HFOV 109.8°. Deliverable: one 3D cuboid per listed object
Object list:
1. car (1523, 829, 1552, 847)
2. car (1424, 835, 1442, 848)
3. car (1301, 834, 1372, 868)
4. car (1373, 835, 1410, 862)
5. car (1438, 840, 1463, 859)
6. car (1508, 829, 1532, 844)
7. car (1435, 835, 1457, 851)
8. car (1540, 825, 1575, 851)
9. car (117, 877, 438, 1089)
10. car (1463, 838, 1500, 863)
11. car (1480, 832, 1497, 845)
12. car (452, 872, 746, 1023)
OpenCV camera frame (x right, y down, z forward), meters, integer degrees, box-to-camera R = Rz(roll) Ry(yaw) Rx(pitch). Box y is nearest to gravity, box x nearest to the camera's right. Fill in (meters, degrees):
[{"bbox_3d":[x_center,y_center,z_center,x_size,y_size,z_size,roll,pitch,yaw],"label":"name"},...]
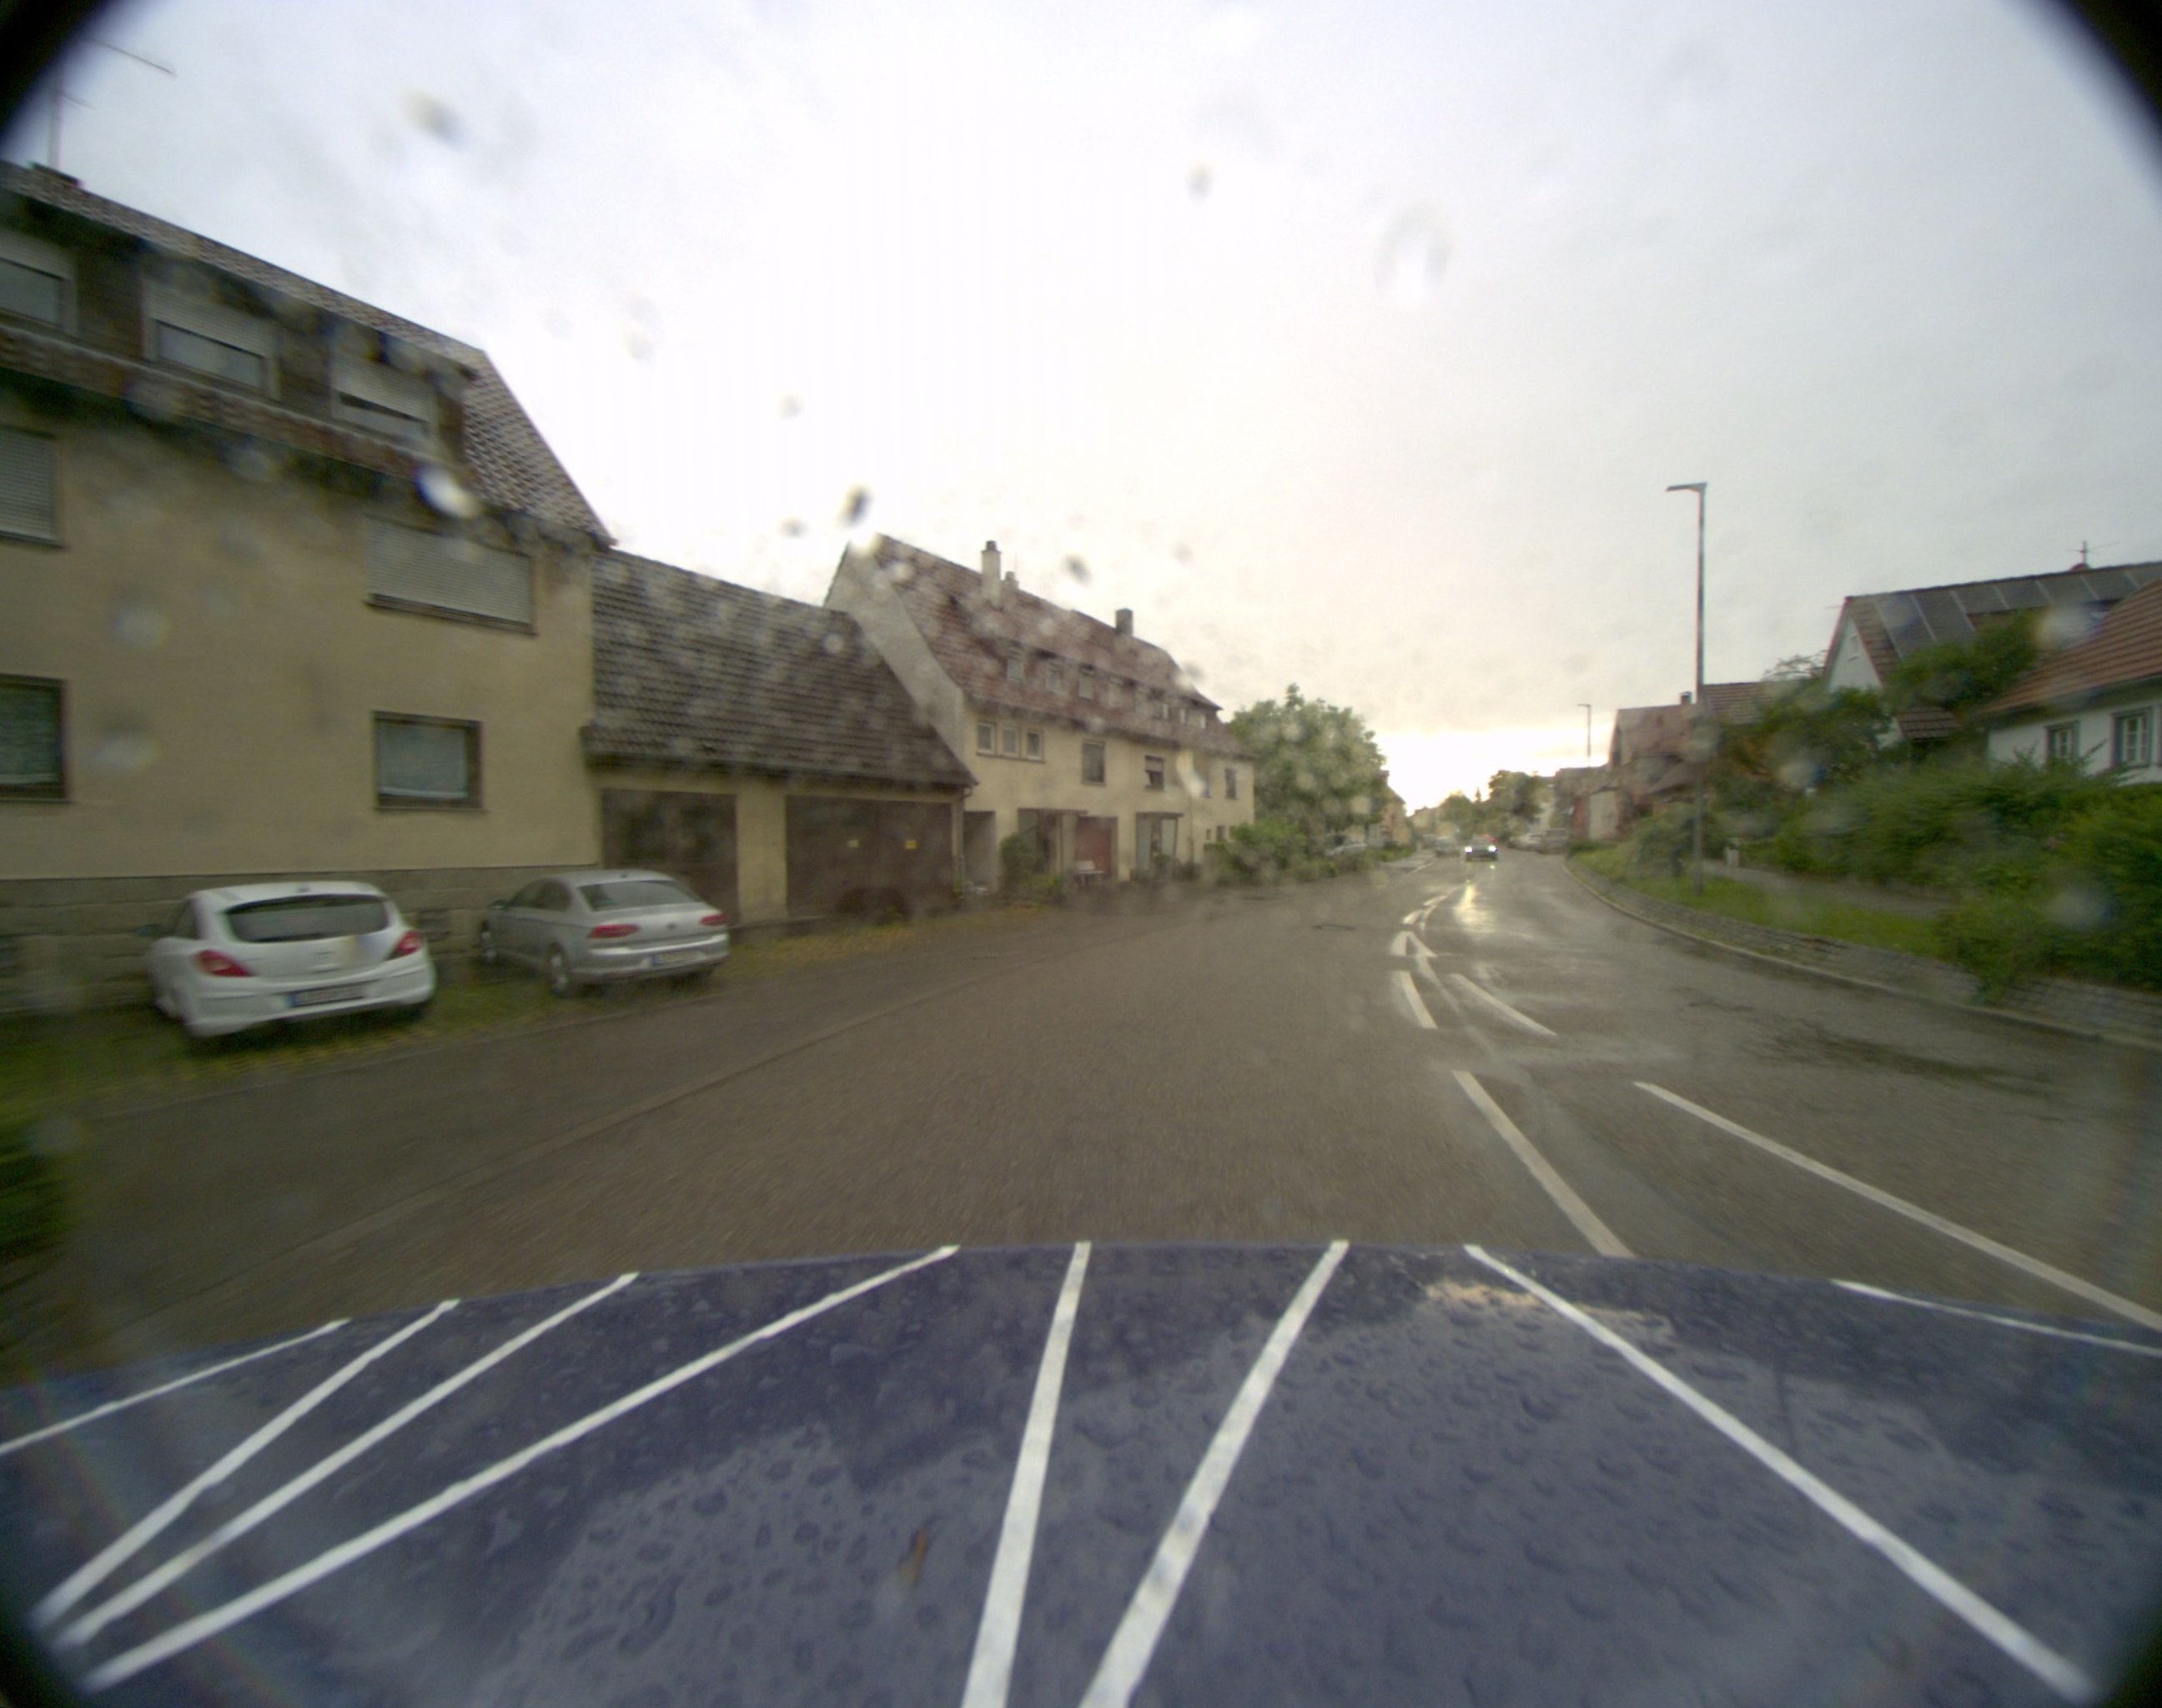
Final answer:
[{"bbox_3d":[43.301,-1.509,72.127,1.809,1.612,4.005,-1,1,22],"label":"car"},{"bbox_3d":[46.855,-1.684,101.250,1.995,1.521,4.006,-2,1,24],"label":"car"},{"bbox_3d":[13.893,-0.203,41.205,1.908,1.701,4.488,0,2,44],"label":"car"},{"bbox_3d":[21.498,-0.408,52.507,1.995,1.721,4.076,0,1,28],"label":"car"},{"bbox_3d":[30.574,-0.383,62.890,1.784,1.456,4.006,0,1,27],"label":"car"},{"bbox_3d":[49.407,-1.973,85.585,1.809,1.612,4.005,-1,1,22],"label":"car"},{"bbox_3d":[37.518,-1.168,78.070,1.995,1.521,4.006,-2,1,26],"label":"car"},{"bbox_3d":[37.028,-1.252,59.110,1.843,1.912,4.197,-2,1,27],"label":"car"},{"bbox_3d":[-8.524,1.137,8.019,3.421,1.521,1.722,2,4,34],"label":"car"},{"bbox_3d":[26.695,-0.261,50.568,1.995,1.521,4.007,-2,1,29],"label":"car"},{"bbox_3d":[51.023,-1.999,95.109,1.808,1.565,4.006,0,1,27],"label":"car"},{"bbox_3d":[-6.647,1.054,10.280,4.614,1.407,1.824,1,3,37],"label":"car"}]
